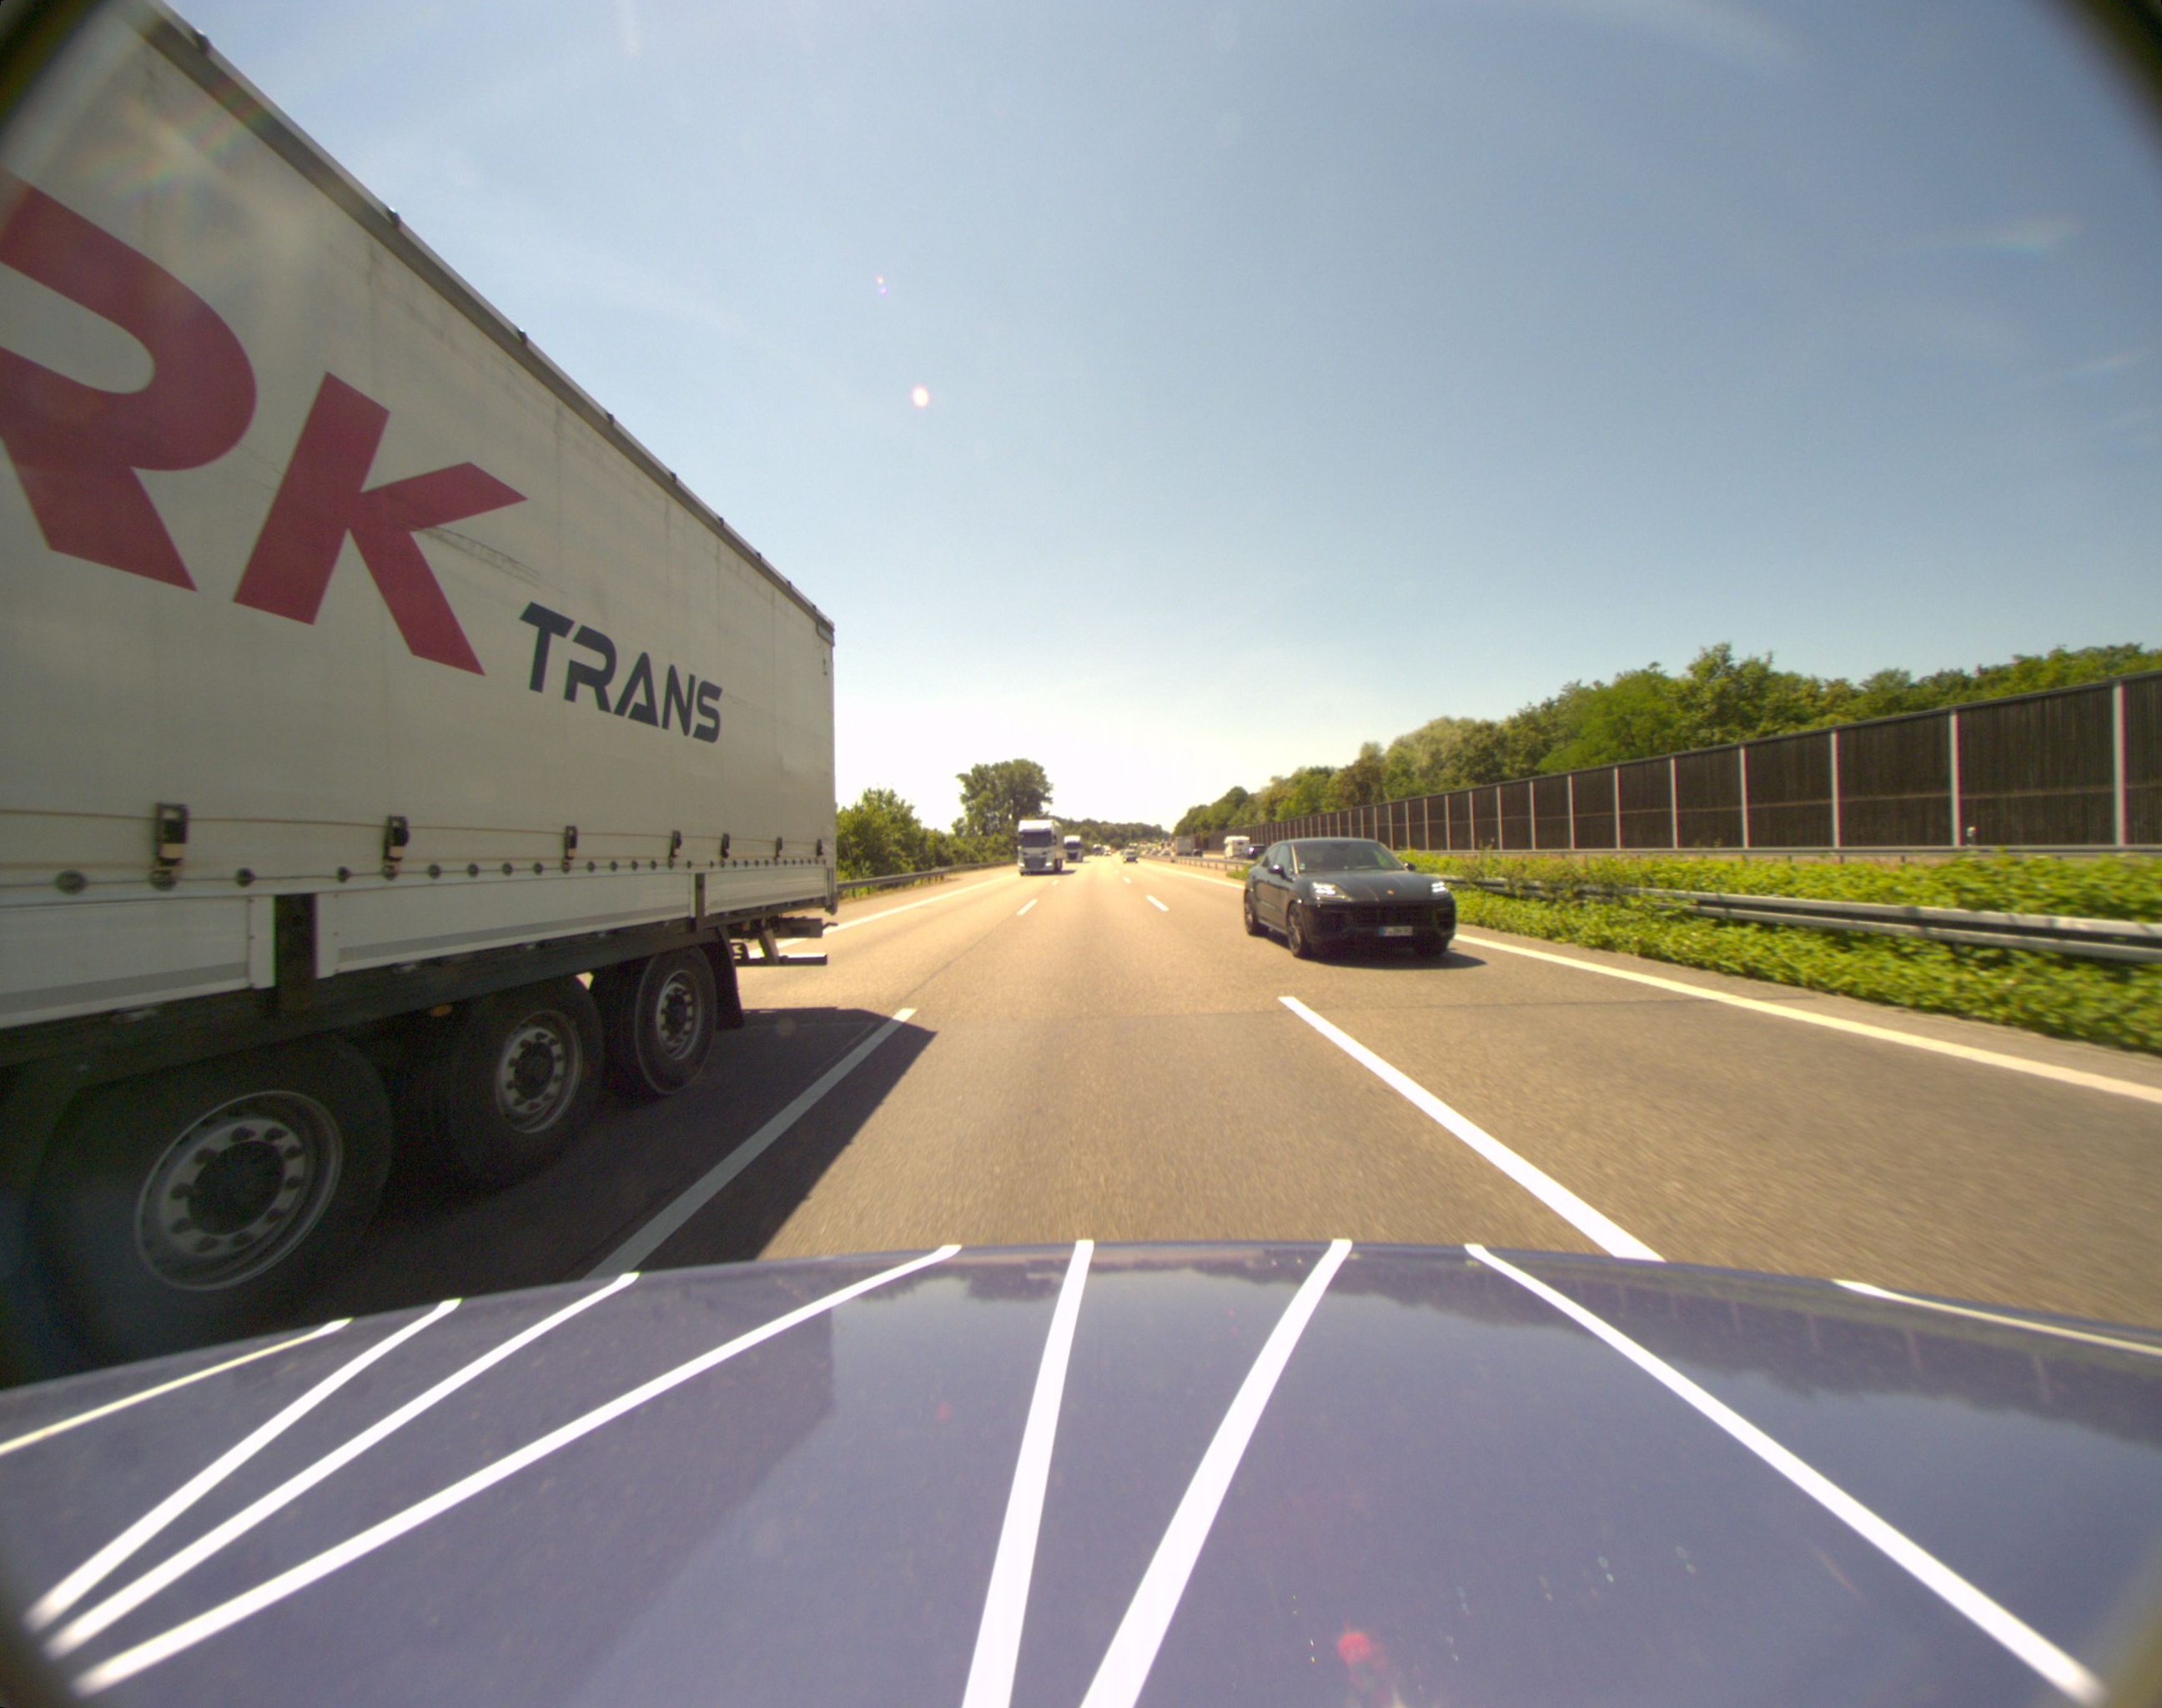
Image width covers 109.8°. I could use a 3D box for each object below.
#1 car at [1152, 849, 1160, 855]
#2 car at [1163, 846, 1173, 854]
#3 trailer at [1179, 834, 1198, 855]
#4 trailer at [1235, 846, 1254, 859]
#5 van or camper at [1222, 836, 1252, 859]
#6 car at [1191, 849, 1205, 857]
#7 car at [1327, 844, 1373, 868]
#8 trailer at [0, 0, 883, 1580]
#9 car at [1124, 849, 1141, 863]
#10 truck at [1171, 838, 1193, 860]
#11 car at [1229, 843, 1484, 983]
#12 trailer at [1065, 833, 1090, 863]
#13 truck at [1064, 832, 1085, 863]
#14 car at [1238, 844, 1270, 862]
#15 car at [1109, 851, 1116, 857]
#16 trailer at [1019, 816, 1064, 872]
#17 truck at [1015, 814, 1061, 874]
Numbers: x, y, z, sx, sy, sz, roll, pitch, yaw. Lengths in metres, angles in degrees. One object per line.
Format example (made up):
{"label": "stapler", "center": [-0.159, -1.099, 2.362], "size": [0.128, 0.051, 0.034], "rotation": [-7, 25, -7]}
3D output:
{"label": "car", "center": [19.067, -0.485, 192.805], "size": [1.809, 1.535, 4.246], "rotation": [-2, 0, 2]}
{"label": "car", "center": [17.755, -0.795, 155.077], "size": [1.923, 1.537, 4.583], "rotation": [-2, 0, 4]}
{"label": "trailer", "center": [22.372, -1.870, 158.755], "size": [2.346, 4.052, 14.210], "rotation": [-2, 0, 2]}
{"label": "trailer", "center": [20.854, -0.186, 97.001], "size": [1.731, 1.569, 3.092], "rotation": [2, 0, 0]}
{"label": "van or camper", "center": [20.894, -0.814, 102.233], "size": [2.564, 2.897, 7.375], "rotation": [2, 0, 0]}
{"label": "car", "center": [21.303, -0.230, 137.976], "size": [1.924, 1.367, 4.582], "rotation": [-2, 0, 1]}
{"label": "car", "center": [18.775, 0.139, 53.133], "size": [1.818, 1.590, 4.000], "rotation": [-2, 0, 1]}
{"label": "trailer", "center": [-3.941, -0.294, 2.221], "size": [2.714, 4.065, 14.150], "rotation": [-2, 0, 1]}
{"label": "car", "center": [6.488, 0.198, 96.131], "size": [1.909, 1.717, 4.375], "rotation": [-2, 0, 1]}
{"label": "truck", "center": [15.628, -0.746, 117.651], "size": [2.416, 3.333, 6.919], "rotation": [-2, 0, 1]}
{"label": "car", "center": [3.826, 0.698, 11.910], "size": [2.048, 1.615, 5.772], "rotation": [-1, 0, 2]}
{"label": "trailer", "center": [-0.445, -1.029, 121.876], "size": [2.541, 4.446, 14.164], "rotation": [-2, 0, 5]}
{"label": "truck", "center": [-0.974, -0.976, 115.983], "size": [2.541, 4.446, 5.574], "rotation": [-2, 1, 5]}
{"label": "car", "center": [13.913, -0.069, 61.346], "size": [1.710, 1.347, 4.000], "rotation": [-2, 0, 1]}
{"label": "car", "center": [9.973, 0.012, 241.203], "size": [1.908, 1.717, 4.377], "rotation": [-2, 0, 5]}
{"label": "trailer", "center": [-3.114, -0.734, 62.842], "size": [2.967, 4.082, 12.531], "rotation": [-2, 0, 0]}
{"label": "truck", "center": [-3.087, -0.715, 56.351], "size": [2.967, 4.082, 6.206], "rotation": [-2, 0, 0]}
